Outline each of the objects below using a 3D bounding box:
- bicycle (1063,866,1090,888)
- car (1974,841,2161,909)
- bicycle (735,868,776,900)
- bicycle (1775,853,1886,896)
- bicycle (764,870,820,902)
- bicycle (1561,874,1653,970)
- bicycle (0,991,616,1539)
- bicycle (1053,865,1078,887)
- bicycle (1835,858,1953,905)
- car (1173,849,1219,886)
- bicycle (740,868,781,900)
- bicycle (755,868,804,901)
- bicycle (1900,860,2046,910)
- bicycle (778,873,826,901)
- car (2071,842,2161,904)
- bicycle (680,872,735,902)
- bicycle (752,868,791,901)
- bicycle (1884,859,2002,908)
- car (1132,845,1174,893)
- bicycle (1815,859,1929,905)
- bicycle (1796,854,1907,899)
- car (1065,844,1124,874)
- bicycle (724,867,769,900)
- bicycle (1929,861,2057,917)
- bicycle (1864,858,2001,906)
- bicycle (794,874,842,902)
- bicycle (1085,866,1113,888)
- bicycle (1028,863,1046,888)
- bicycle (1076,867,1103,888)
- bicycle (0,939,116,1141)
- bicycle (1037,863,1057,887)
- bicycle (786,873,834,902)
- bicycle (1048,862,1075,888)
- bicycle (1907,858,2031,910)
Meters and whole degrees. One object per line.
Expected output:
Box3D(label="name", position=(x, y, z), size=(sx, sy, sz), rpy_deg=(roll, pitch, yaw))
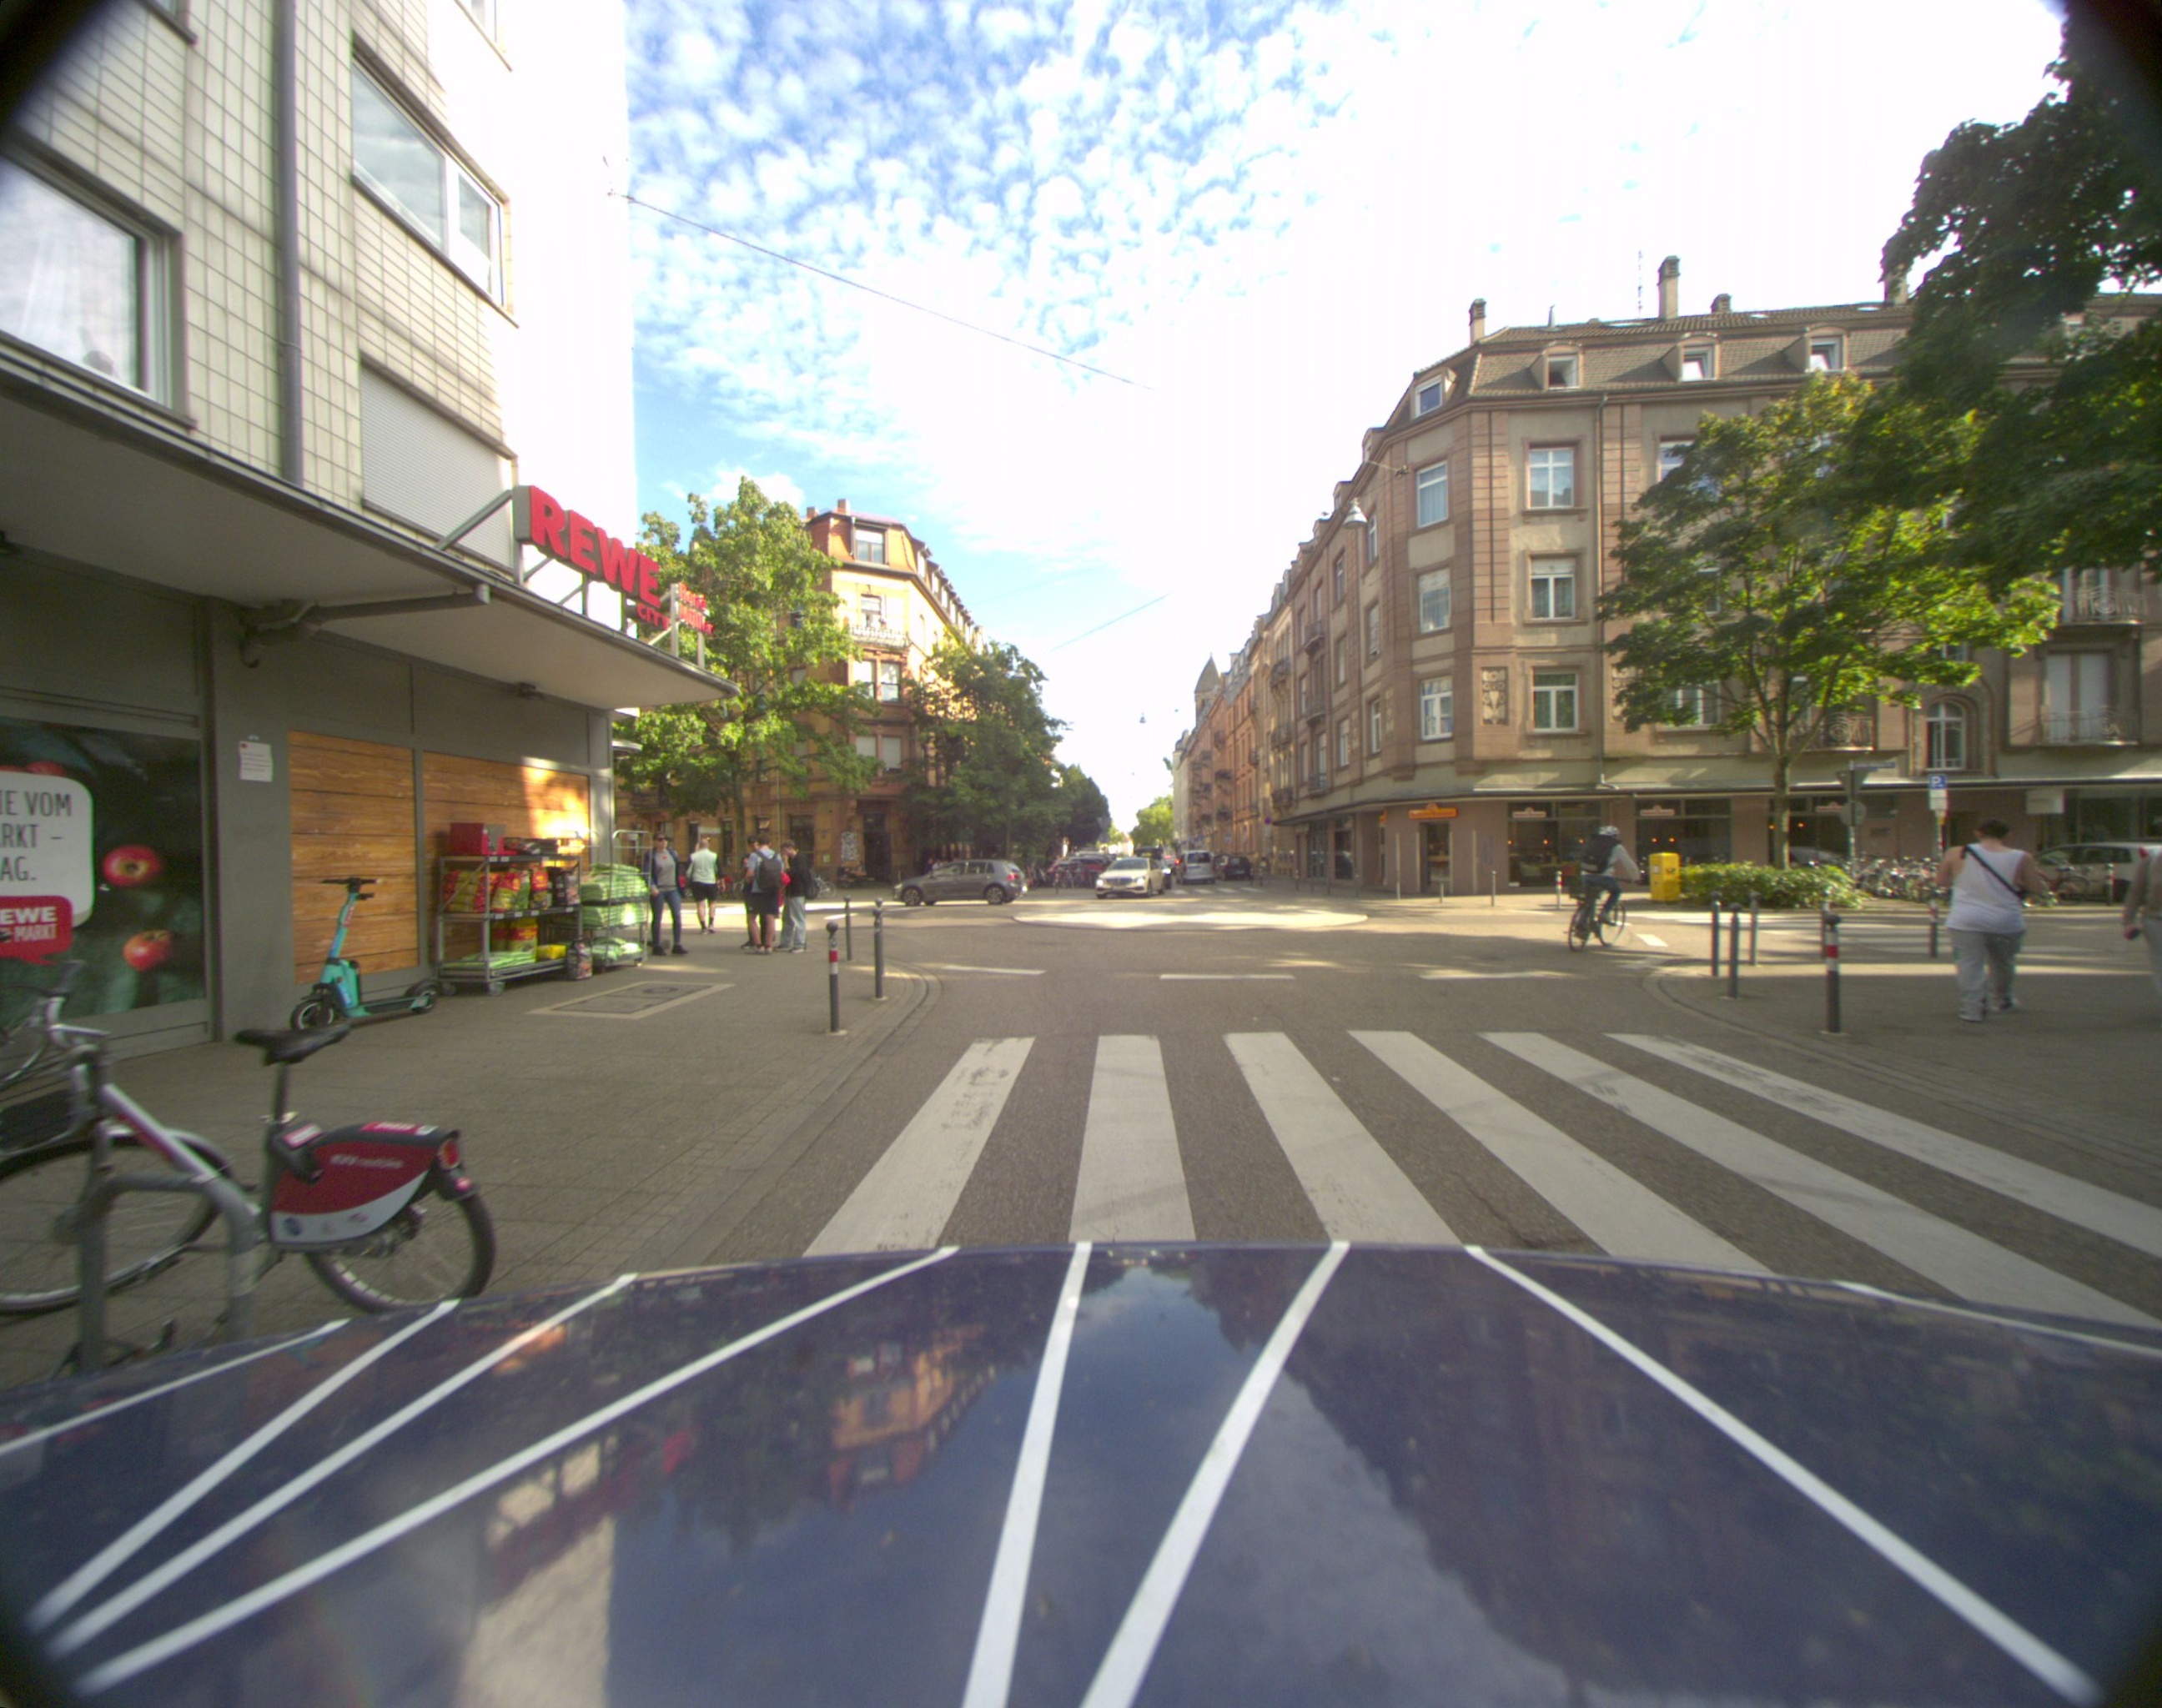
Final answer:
Box3D(label="bicycle", position=(-0.230, 1.080, 36.640), size=(0.472, 0.979, 1.860), rpy_deg=(0, 1, -28))
Box3D(label="car", position=(24.971, 0.469, 18.778), size=(1.575, 1.468, 3.700), rpy_deg=(-3, 0, 4))
Box3D(label="bicycle", position=(-13.249, 1.196, 30.985), size=(0.447, 1.195, 1.714), rpy_deg=(0, 2, 20))
Box3D(label="bicycle", position=(20.449, 0.556, 20.750), size=(2.430, 1.127, 0.580), rpy_deg=(-1, 1, 1))
Box3D(label="bicycle", position=(-11.276, 1.231, 29.725), size=(0.447, 1.083, 2.049), rpy_deg=(1, 3, 41))
Box3D(label="bicycle", position=(7.719, 0.931, 11.102), size=(2.121, 1.213, 0.701), rpy_deg=(-1, 1, -44))
Box3D(label="bicycle", position=(-2.636, 1.077, 2.302), size=(1.887, 1.119, 0.907), rpy_deg=(1, 0, 1))
Box3D(label="bicycle", position=(-0.756, 1.062, 36.445), size=(0.418, 0.979, 1.834), rpy_deg=(0, 1, -28))
Box3D(label="bicycle", position=(20.431, 0.687, 19.118), size=(2.430, 1.128, 0.479), rpy_deg=(-1, 1, 1))
Box3D(label="car", position=(6.222, 0.728, 41.543), size=(1.833, 1.780, 4.332), rpy_deg=(-3, -1, 1))
Box3D(label="bicycle", position=(-12.897, 1.194, 30.639), size=(0.447, 1.195, 1.714), rpy_deg=(0, 2, 20))
Box3D(label="bicycle", position=(-11.859, 1.188, 29.932), size=(0.447, 1.195, 1.715), rpy_deg=(1, 3, 41))
Box3D(label="bicycle", position=(21.302, 0.733, 18.182), size=(2.510, 1.095, 0.651), rpy_deg=(-2, 0, 5))
Box3D(label="bicycle", position=(-10.828, 1.272, 29.557), size=(0.447, 0.981, 1.715), rpy_deg=(1, 3, 41))
Box3D(label="car", position=(27.231, 0.449, 18.308), size=(1.575, 1.468, 4.075), rpy_deg=(-3, 0, 4))
Box3D(label="bicycle", position=(-15.013, 1.311, 30.490), size=(2.493, 1.090, 0.582), rpy_deg=(-1, 4, 29))
Box3D(label="bicycle", position=(-12.377, 1.208, 30.438), size=(0.447, 1.195, 1.714), rpy_deg=(-1, 2, 14))
Box3D(label="bicycle", position=(20.641, 0.702, 18.205), size=(2.262, 1.128, 0.479), rpy_deg=(-1, 1, 1))
Box3D(label="car", position=(3.331, 0.645, 34.869), size=(1.791, 2.051, 4.002), rpy_deg=(-1, 0, 6))
Box3D(label="bicycle", position=(20.437, 0.711, 19.639), size=(2.430, 1.127, 0.479), rpy_deg=(-1, 1, 1))
Box3D(label="bicycle", position=(20.443, 0.591, 20.176), size=(2.430, 1.127, 0.479), rpy_deg=(-1, 1, 1))
Box3D(label="car", position=(1.198, 0.418, 67.709), size=(4.745, 2.408, 1.996), rpy_deg=(-3, 0, -29))
Box3D(label="bicycle", position=(-13.737, 1.195, 31.232), size=(0.447, 1.195, 1.715), rpy_deg=(0, 3, 32))
Box3D(label="bicycle", position=(20.586, 0.781, 17.166), size=(2.292, 1.217, 0.479), rpy_deg=(-1, 1, 1))
Box3D(label="bicycle", position=(21.433, 0.695, 19.154), size=(2.511, 1.095, 0.709), rpy_deg=(-2, -1, 3))
Box3D(label="bicycle", position=(-10.066, 1.284, 29.087), size=(0.447, 0.964, 1.715), rpy_deg=(1, 3, 41))
Box3D(label="bicycle", position=(0.869, 1.098, 36.814), size=(0.472, 0.979, 1.860), rpy_deg=(0, 1, -28))
Box3D(label="bicycle", position=(-2.098, 1.009, 36.173), size=(0.434, 1.094, 1.672), rpy_deg=(1, 0, -17))
Box3D(label="bicycle", position=(0.391, 1.121, 36.761), size=(0.472, 0.979, 1.860), rpy_deg=(0, 1, -28))
Box3D(label="bicycle", position=(-6.234, 1.072, 3.896), size=(0.678, 1.037, 1.731), rpy_deg=(-1, 1, -16))
Box3D(label="bicycle", position=(-1.640, 0.989, 36.369), size=(0.476, 1.094, 1.672), rpy_deg=(0, 0, -21))
Box3D(label="bicycle", position=(-10.446, 1.276, 29.339), size=(0.447, 0.981, 1.715), rpy_deg=(1, 3, 41))
Box3D(label="bicycle", position=(-0.928, 0.977, 36.017), size=(0.476, 1.136, 1.834), rpy_deg=(0, 1, -28))
Box3D(label="bicycle", position=(20.600, 0.697, 17.646), size=(2.290, 1.151, 0.479), rpy_deg=(-1, 1, 1))
